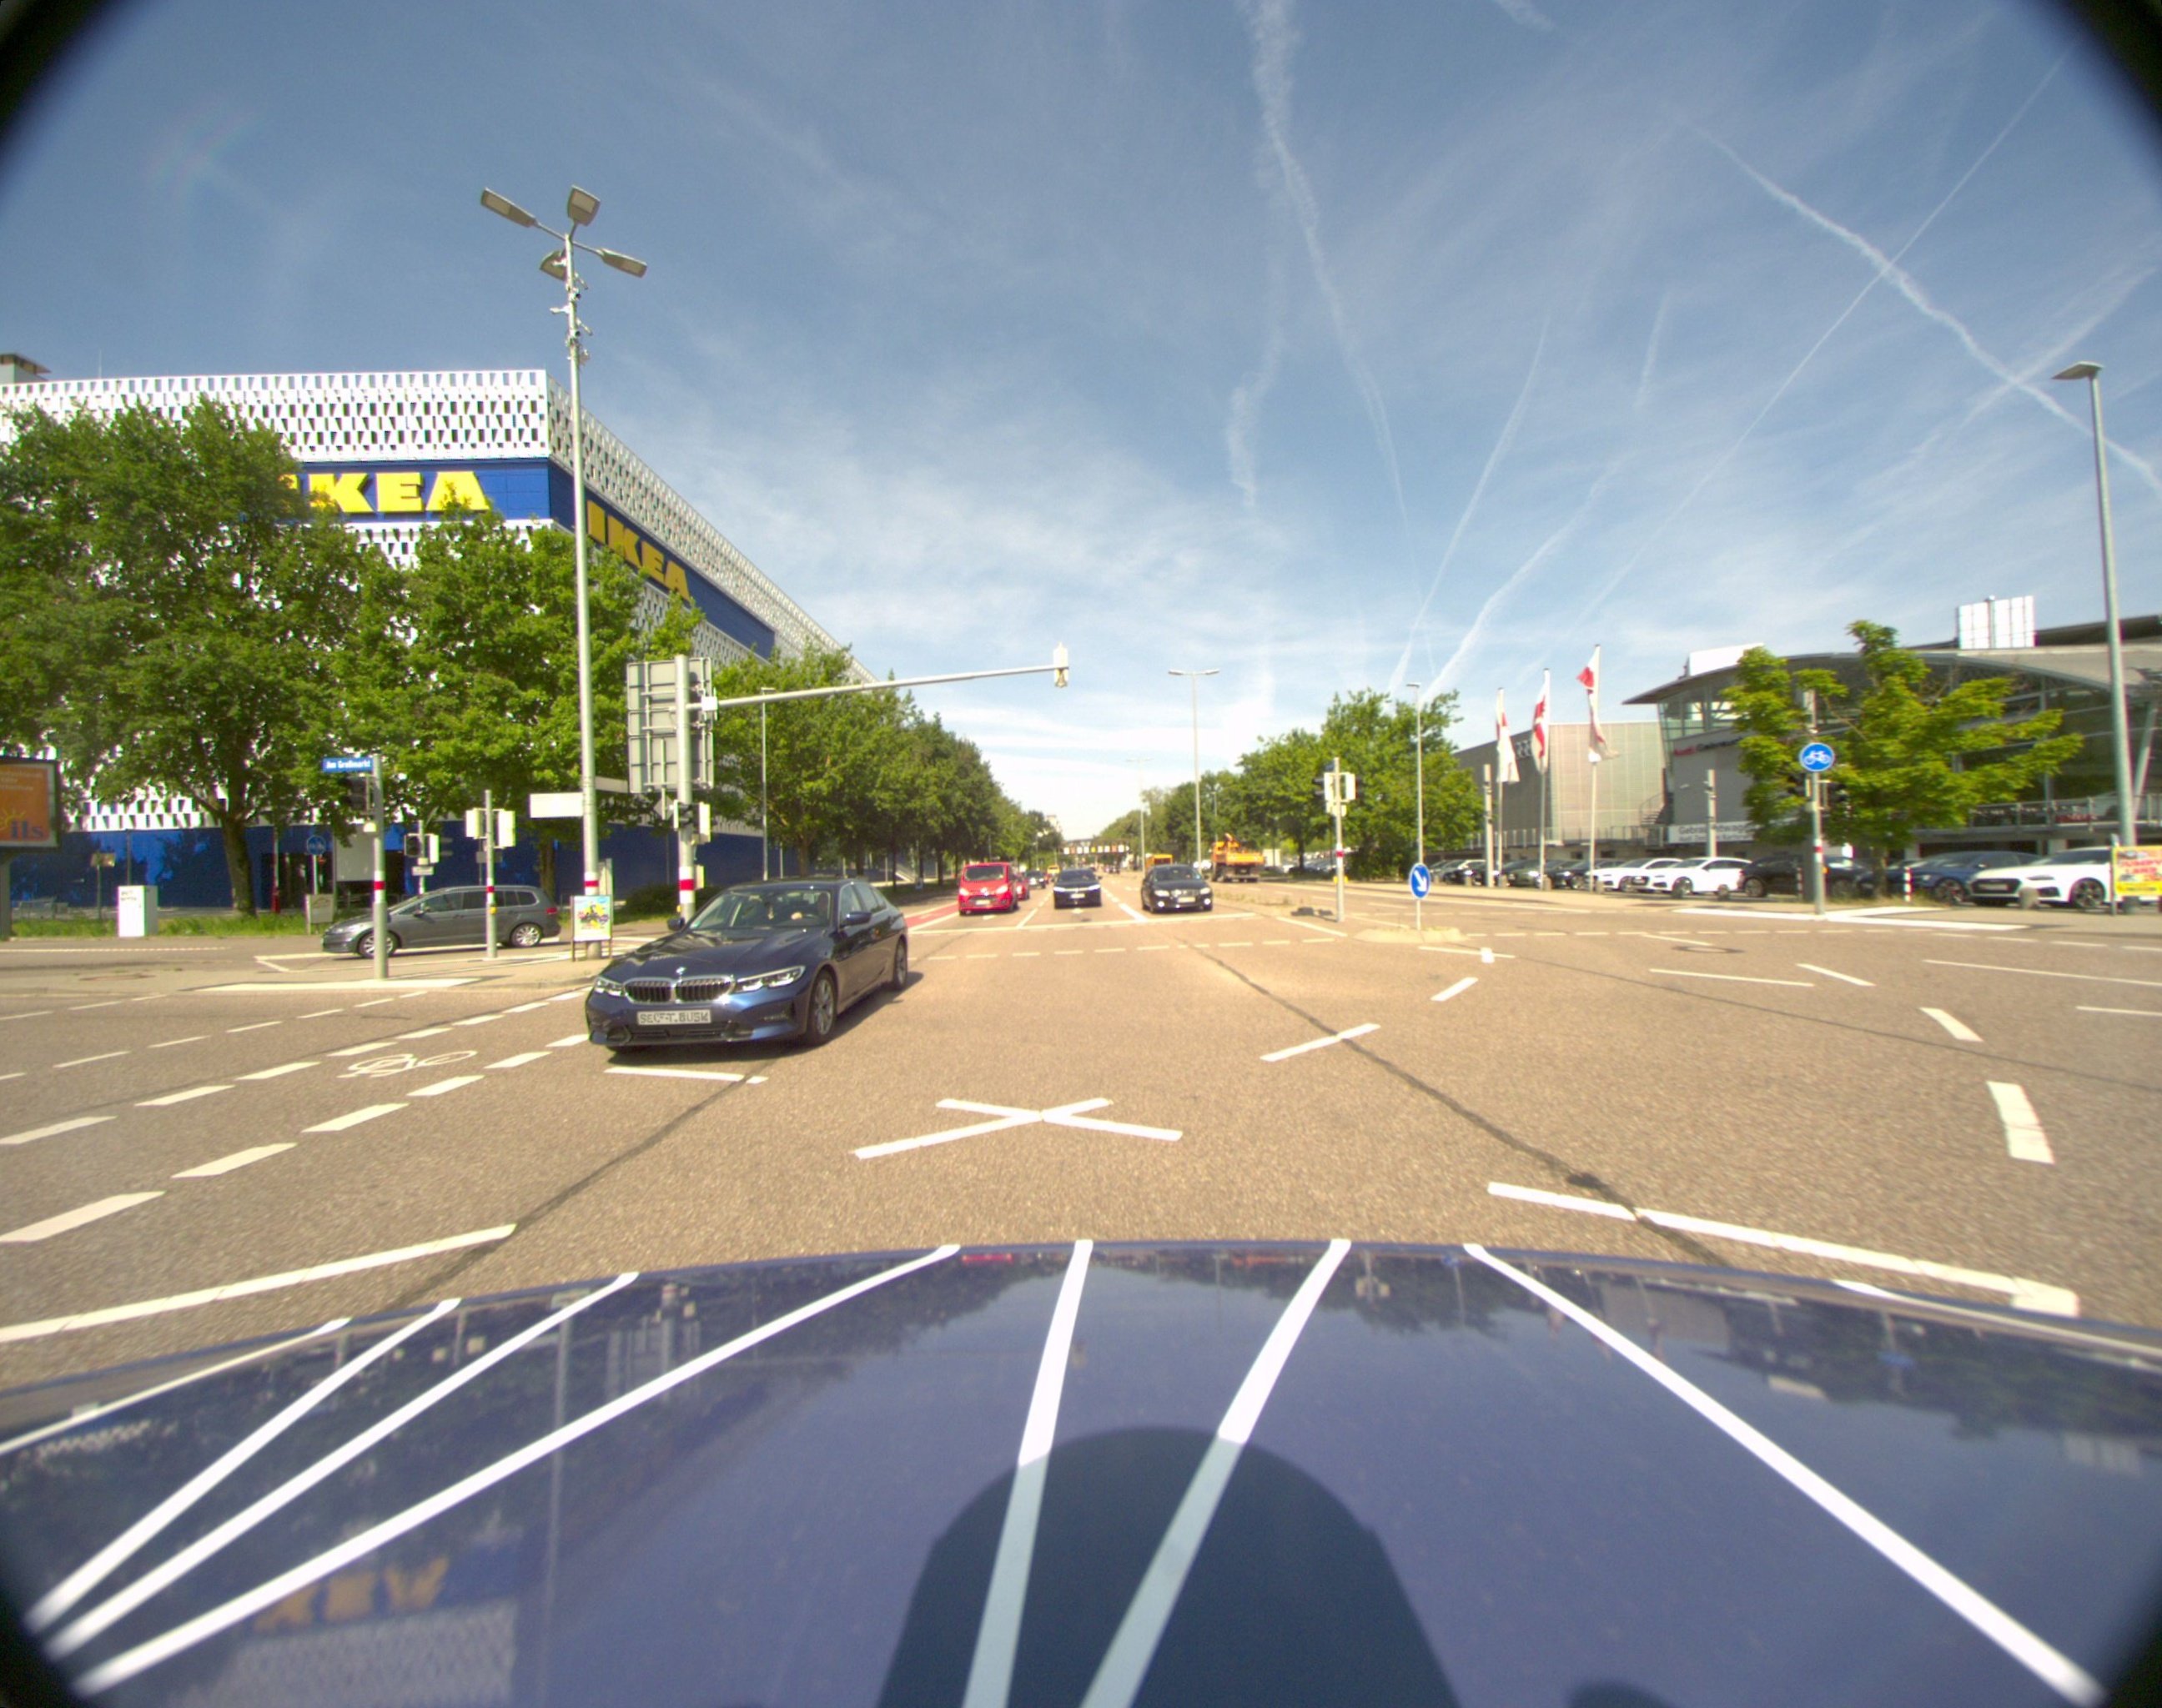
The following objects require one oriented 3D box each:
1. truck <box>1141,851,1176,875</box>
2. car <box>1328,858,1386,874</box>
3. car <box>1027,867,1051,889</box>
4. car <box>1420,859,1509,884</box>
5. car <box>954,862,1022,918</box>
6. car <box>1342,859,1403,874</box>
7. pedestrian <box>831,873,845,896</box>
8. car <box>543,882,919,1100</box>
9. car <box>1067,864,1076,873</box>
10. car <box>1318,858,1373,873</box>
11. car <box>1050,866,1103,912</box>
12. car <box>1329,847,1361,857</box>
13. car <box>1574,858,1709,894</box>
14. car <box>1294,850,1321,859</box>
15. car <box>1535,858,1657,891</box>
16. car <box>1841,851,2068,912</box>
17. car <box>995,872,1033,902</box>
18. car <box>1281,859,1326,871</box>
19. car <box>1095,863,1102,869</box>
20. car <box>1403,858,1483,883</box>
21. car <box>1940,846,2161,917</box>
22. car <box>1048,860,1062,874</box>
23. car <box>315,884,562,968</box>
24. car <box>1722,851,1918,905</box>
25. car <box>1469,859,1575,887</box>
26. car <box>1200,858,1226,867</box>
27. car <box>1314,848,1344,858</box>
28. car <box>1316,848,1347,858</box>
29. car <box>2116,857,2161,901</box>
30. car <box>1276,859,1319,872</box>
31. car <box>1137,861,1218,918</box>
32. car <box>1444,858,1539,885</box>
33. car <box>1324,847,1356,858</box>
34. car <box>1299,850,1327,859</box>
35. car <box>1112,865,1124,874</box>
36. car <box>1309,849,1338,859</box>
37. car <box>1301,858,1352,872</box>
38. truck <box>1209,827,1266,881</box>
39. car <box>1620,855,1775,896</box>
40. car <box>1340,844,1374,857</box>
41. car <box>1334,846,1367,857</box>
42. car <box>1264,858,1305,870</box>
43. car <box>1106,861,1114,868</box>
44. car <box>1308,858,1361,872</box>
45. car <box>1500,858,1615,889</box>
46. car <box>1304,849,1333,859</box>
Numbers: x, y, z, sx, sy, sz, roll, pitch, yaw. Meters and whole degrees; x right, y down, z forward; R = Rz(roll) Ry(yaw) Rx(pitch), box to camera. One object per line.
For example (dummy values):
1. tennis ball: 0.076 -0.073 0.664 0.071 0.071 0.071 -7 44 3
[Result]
1. truck: 9.209 1.105 91.182 2.383 2.609 6.668 -3 -1 -10
2. car: 22.994 0.969 63.386 4.196 1.239 1.690 1 0 1
3. car: -3.387 1.927 61.665 1.649 1.530 4.000 -5 -1 -2
4. car: 22.111 0.993 43.882 4.226 1.386 1.802 1 0 -1
5. car: -3.530 1.330 29.740 2.014 1.896 4.810 -4 -1 -1
6. car: 23.195 0.987 60.528 4.196 1.116 1.719 1 0 1
7. pedestrian: -16.918 2.100 52.979 0.680 1.537 0.780 -2 0 0
8. car: -3.085 1.102 7.921 1.800 1.420 4.538 -2 0 0
9. car: -2.219 3.385 176.442 1.999 2.002 3.999 -4 0 -1
10. car: 22.881 0.986 65.883 4.196 1.188 1.690 1 0 1
11. car: -0.121 1.333 30.429 1.847 1.530 4.001 -5 -1 2
12. car: 39.203 -0.288 112.874 4.196 1.490 1.690 1 0 1
13. car: 22.180 0.857 30.174 3.997 1.311 1.869 1 0 0
14. car: 39.041 0.132 131.118 4.196 1.490 1.690 1 0 1
15. car: 22.041 0.863 32.636 3.997 1.311 1.838 1 0 1
16. car: 22.236 0.680 19.439 3.844 1.394 1.764 -1 0 -2
17. car: -3.569 1.724 40.892 1.692 1.414 3.916 -3 -1 -1
18. car: 23.069 1.129 78.885 4.196 1.248 1.690 1 0 1
19. car: 4.913 3.418 211.019 1.866 1.503 4.001 -2 -1 2
20. car: 22.163 1.001 46.600 4.035 1.393 1.809 1 0 -1
21. car: 22.489 0.584 16.947 4.383 1.423 1.900 -1 0 2
22. car: -4.069 2.075 121.363 1.999 2.002 3.999 -4 0 -1
23. car: -15.849 1.658 18.939 1.994 1.645 4.400 -2 0 40
24. car: 22.844 0.699 23.785 1.802 1.487 4.425 -2 -1 0
25. car: 22.260 0.949 38.471 4.291 1.346 1.830 1 0 -1
26. car: 22.586 1.411 130.277 4.196 1.490 1.690 1 0 1
27. car: 39.443 -0.115 121.025 4.196 1.490 1.690 1 0 1
28. car: 39.092 -0.156 118.734 4.196 1.490 1.690 1 0 1
29. car: 34.850 0.771 22.874 1.792 1.370 4.065 -1 0 -1
30. car: 23.137 1.244 81.291 4.196 1.317 1.690 1 0 1
31. car: 2.945 1.041 24.223 1.882 1.513 4.869 -4 -1 0
32. car: 22.190 0.951 41.175 4.121 1.346 1.835 1 0 -2
33. car: 39.277 -0.227 115.164 4.196 1.490 1.690 1 0 1
34. car: 39.298 0.091 128.576 4.196 1.490 1.690 1 0 1
35. car: 6.781 2.822 139.642 1.851 1.451 4.664 0 -1 -2
36. car: 39.570 -0.043 123.872 4.196 1.490 1.690 1 0 1
37. car: 22.839 1.005 70.863 4.196 1.247 1.690 1 0 1
38. truck: 11.519 0.020 56.523 2.753 3.658 7.580 -1 0 1
39. car: 22.177 0.759 27.437 4.083 1.362 1.878 1 0 0
40. car: 39.231 -0.501 107.882 4.196 1.722 1.690 1 0 1
41. car: 39.225 -0.327 110.540 4.196 1.490 1.690 1 0 1
42. car: 23.069 1.149 86.360 4.196 1.315 1.690 1 0 1
43. car: 6.353 2.357 166.238 1.732 1.430 3.870 0 -1 0
44. car: 22.754 1.008 68.337 4.196 1.198 1.690 1 0 1
45. car: 22.203 0.900 35.494 4.186 1.327 1.855 1 0 -1
46. car: 39.339 0.007 125.988 4.196 1.490 1.690 1 0 1
